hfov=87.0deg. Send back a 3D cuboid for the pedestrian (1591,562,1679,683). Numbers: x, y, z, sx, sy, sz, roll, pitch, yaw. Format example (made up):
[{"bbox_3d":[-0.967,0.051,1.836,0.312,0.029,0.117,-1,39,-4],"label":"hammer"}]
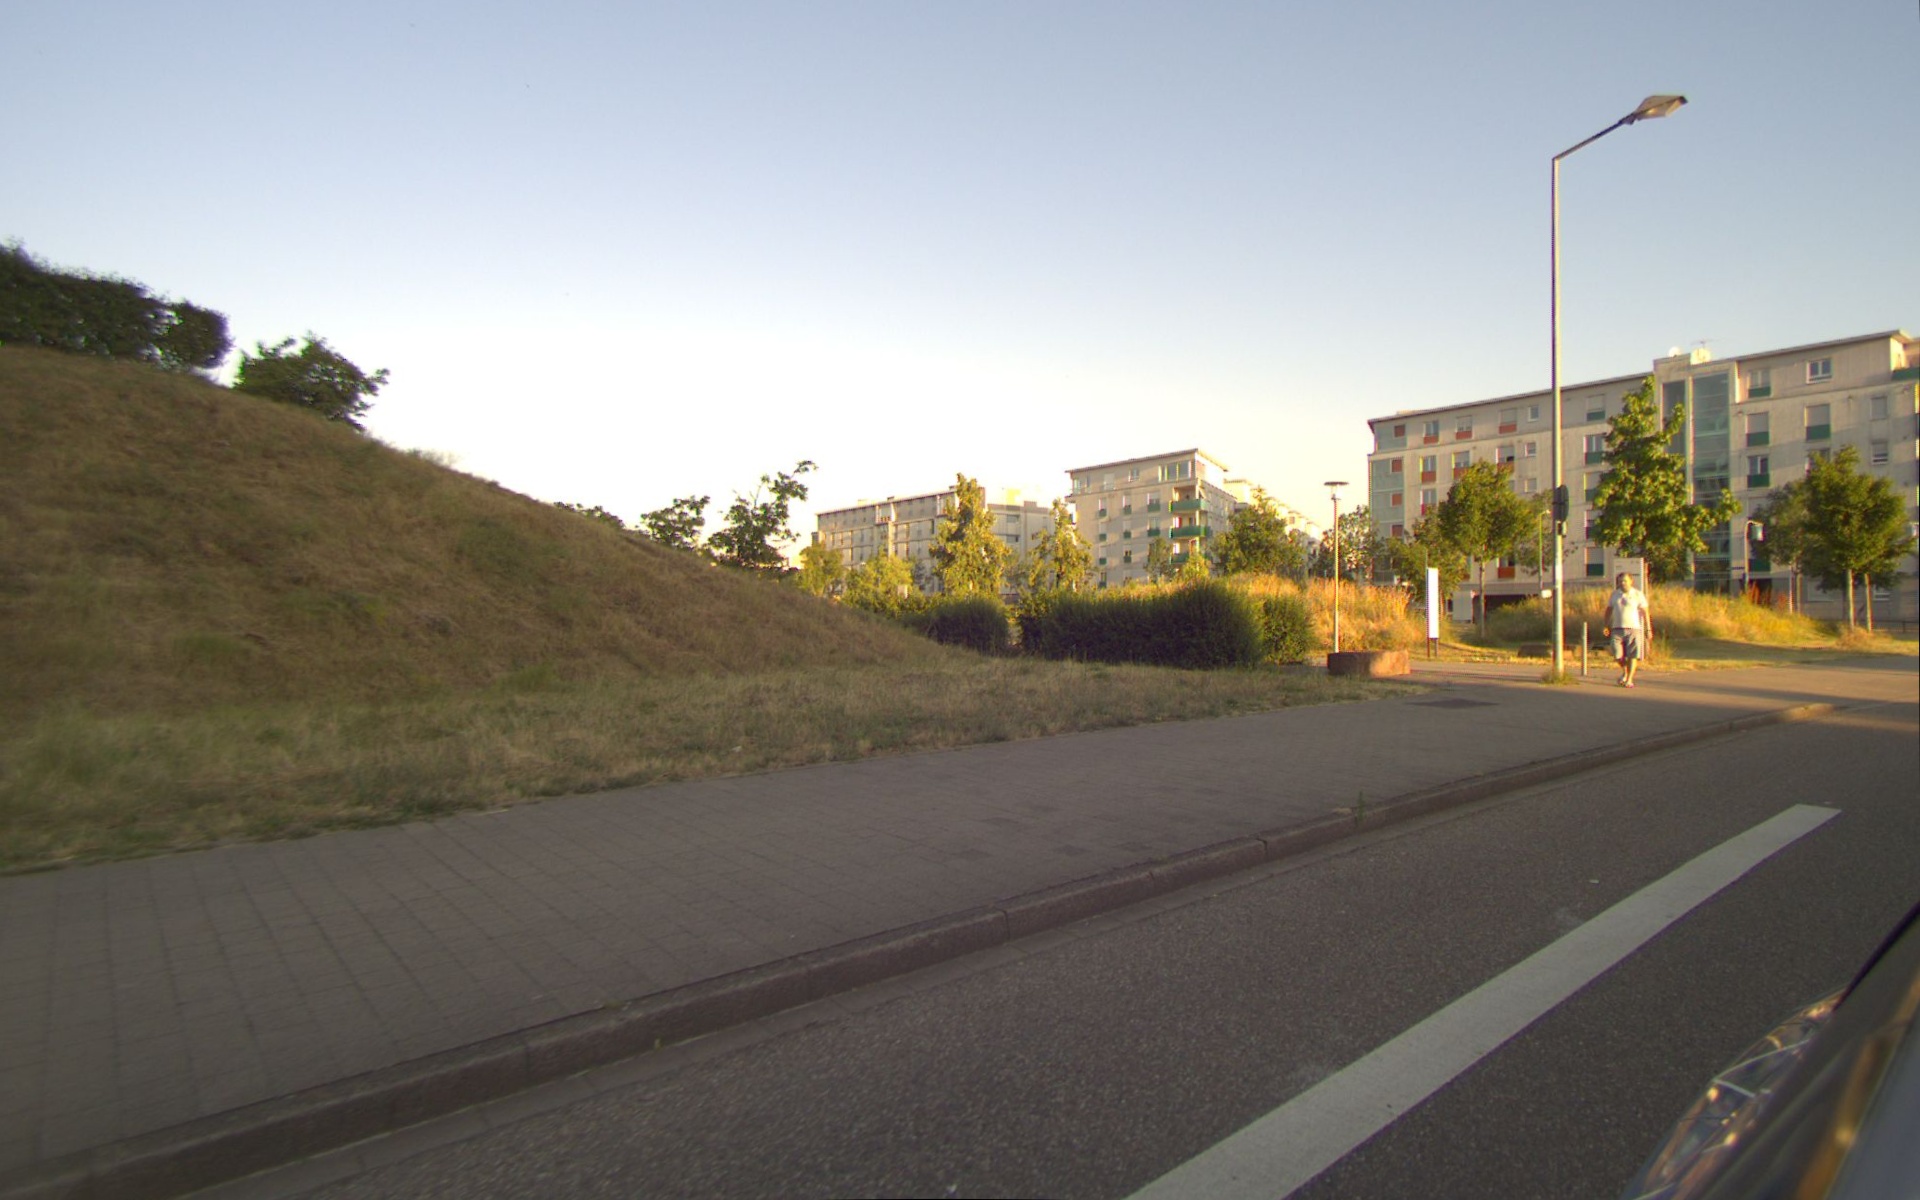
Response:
[{"bbox_3d":[10.430,0.326,15.646,0.802,1.788,0.835,0,2,-33],"label":"pedestrian"}]
